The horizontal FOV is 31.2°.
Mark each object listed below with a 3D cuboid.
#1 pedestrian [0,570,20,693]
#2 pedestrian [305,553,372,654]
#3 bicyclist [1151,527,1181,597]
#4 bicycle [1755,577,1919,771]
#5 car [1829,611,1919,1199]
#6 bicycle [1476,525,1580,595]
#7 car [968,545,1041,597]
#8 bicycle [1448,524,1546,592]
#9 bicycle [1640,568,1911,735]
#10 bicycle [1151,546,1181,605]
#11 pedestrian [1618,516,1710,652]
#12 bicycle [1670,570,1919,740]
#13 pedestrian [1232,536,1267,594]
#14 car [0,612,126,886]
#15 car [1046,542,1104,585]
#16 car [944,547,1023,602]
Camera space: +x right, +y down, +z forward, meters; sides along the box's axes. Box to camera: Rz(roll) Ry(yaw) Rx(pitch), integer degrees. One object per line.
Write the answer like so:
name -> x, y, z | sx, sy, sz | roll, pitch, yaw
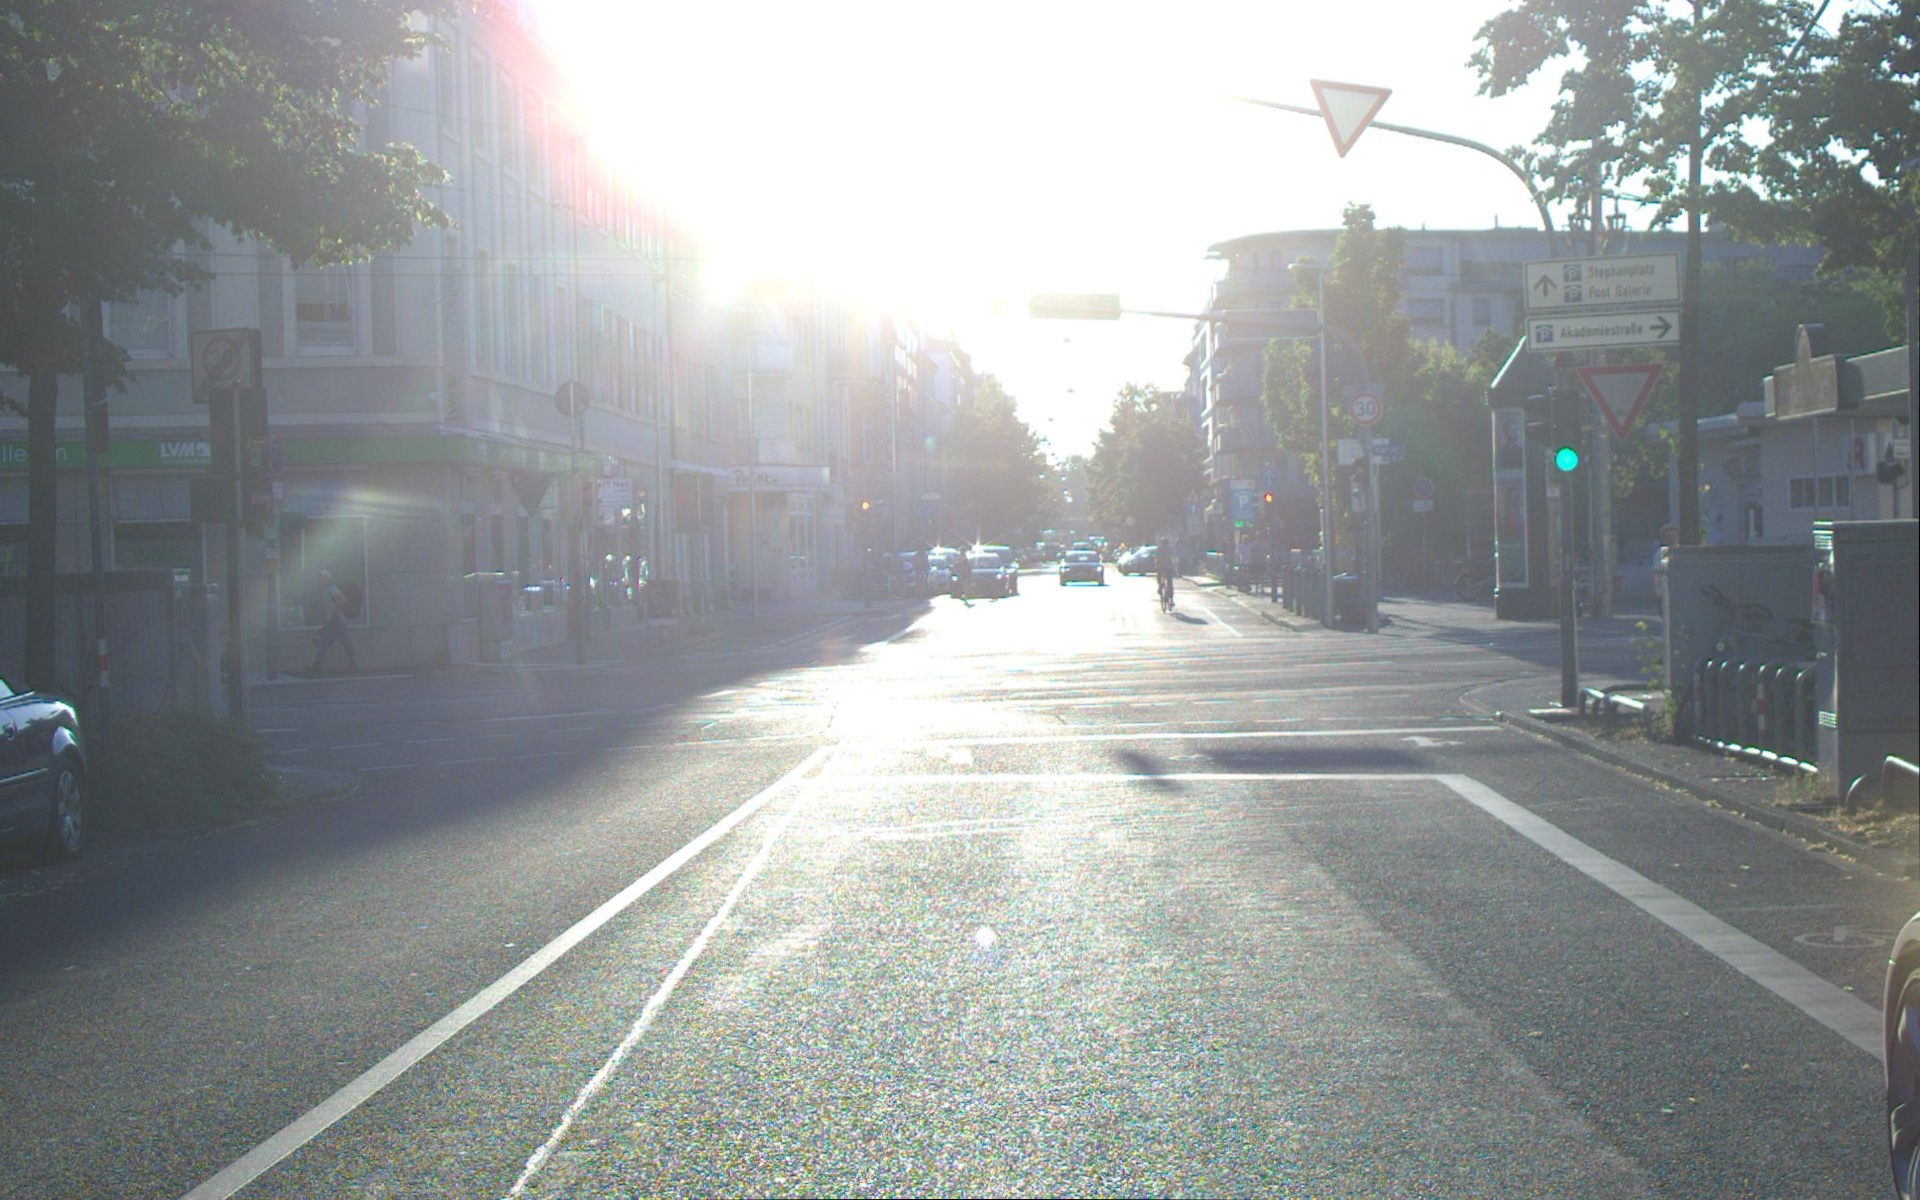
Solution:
pedestrian -> -14.060, 0.465, 50.002 | 0.645, 1.772, 0.672 | -2, 1, -19
pedestrian -> -9.669, 0.049, 53.488 | 0.867, 1.543, 0.699 | -2, 1, -19
bicyclist -> 5.043, -0.929, 84.322 | 0.679, 1.701, 0.669 | -2, 1, 4
bicycle -> 6.162, 0.460, 22.258 | 1.912, 1.199, 0.470 | -2, 1, -8
car -> 2.910, 0.764, 5.828 | 1.800, 1.373, 4.552 | 0, 1, 1
bicycle -> 12.909, -0.903, 78.182 | 2.223, 1.517, 0.681 | -2, 1, 4
car -> 1.578, -1.039, 119.727 | 2.304, 1.672, 5.532 | -2, 1, 3
bicycle -> 12.697, -0.994, 81.340 | 2.223, 1.517, 0.681 | -2, 1, 8
bicycle -> 6.157, 0.388, 26.009 | 1.913, 1.199, 0.470 | -1, 1, 4
bicycle -> 5.053, -0.613, 84.354 | 0.679, 1.397, 2.229 | -2, 1, 4
pedestrian -> 9.152, -0.213, 44.683 | 0.805, 1.720, 0.992 | -3, 0, 30
bicycle -> 6.285, 0.402, 25.509 | 1.913, 1.199, 0.470 | -1, 1, 4
pedestrian -> 9.074, -1.100, 107.730 | 0.804, 1.780, 0.993 | -3, 0, 17
car -> -6.024, 0.847, 18.354 | 1.915, 1.381, 4.382 | -2, 1, 2
car -> 4.800, -1.520, 142.610 | 2.304, 1.672, 5.532 | -2, 1, 3
car -> 0.796, -0.852, 112.167 | 2.304, 1.672, 5.532 | -2, 1, 3
